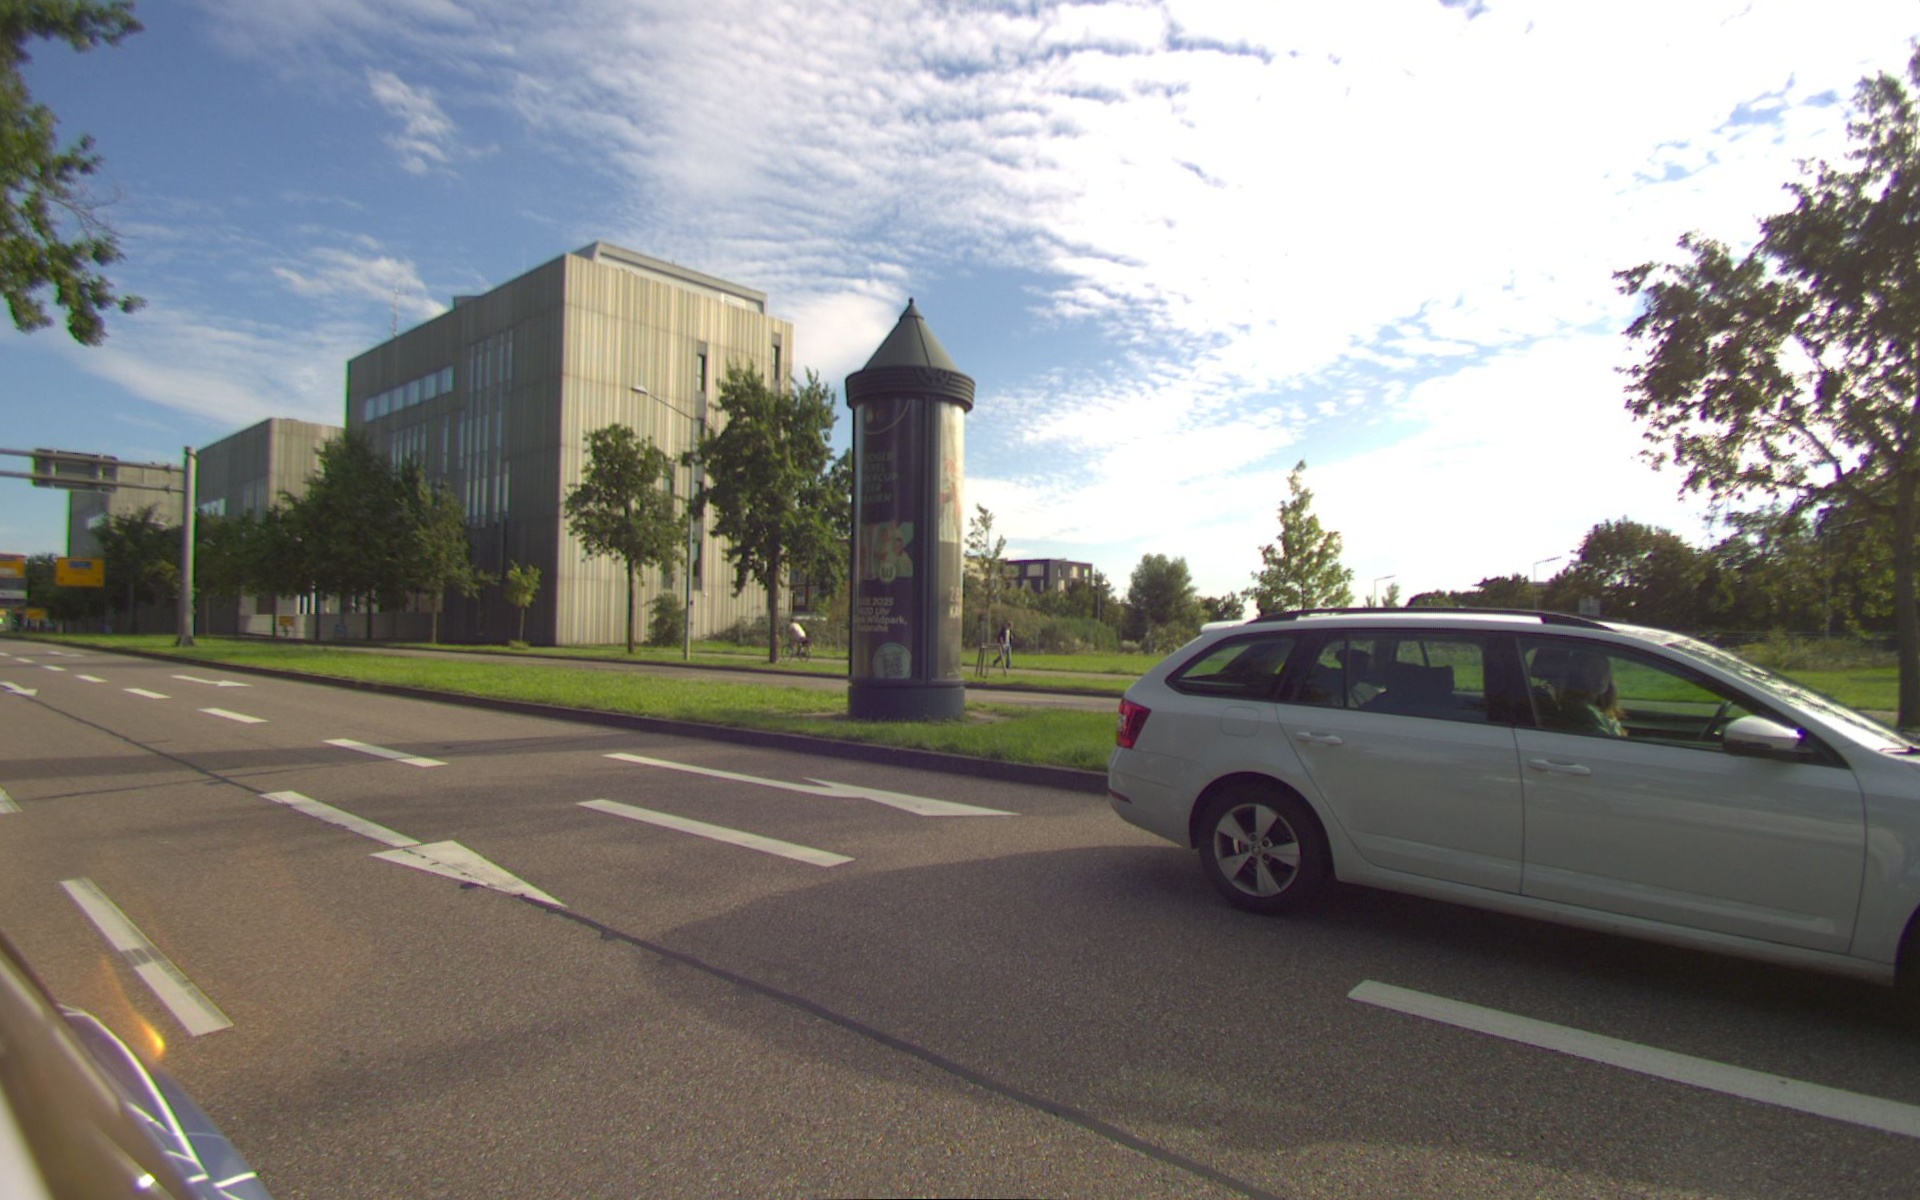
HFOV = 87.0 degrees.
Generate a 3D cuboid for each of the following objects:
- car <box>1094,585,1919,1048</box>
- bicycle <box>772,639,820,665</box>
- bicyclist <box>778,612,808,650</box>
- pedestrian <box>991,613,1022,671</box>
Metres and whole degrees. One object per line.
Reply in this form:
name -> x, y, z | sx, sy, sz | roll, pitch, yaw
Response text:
car -> 2.949, 0.725, 4.590 | 4.479, 1.510, 1.681 | -1, -1, 41
bicycle -> -6.633, 2.081, 40.777 | 1.910, 0.989, 0.885 | -1, -3, 41
bicyclist -> -6.761, 1.257, 40.930 | 0.989, 1.537, 0.698 | -1, -3, 41
pedestrian -> 1.672, 1.492, 36.224 | 0.867, 2.029, 0.667 | -1, -3, 41
